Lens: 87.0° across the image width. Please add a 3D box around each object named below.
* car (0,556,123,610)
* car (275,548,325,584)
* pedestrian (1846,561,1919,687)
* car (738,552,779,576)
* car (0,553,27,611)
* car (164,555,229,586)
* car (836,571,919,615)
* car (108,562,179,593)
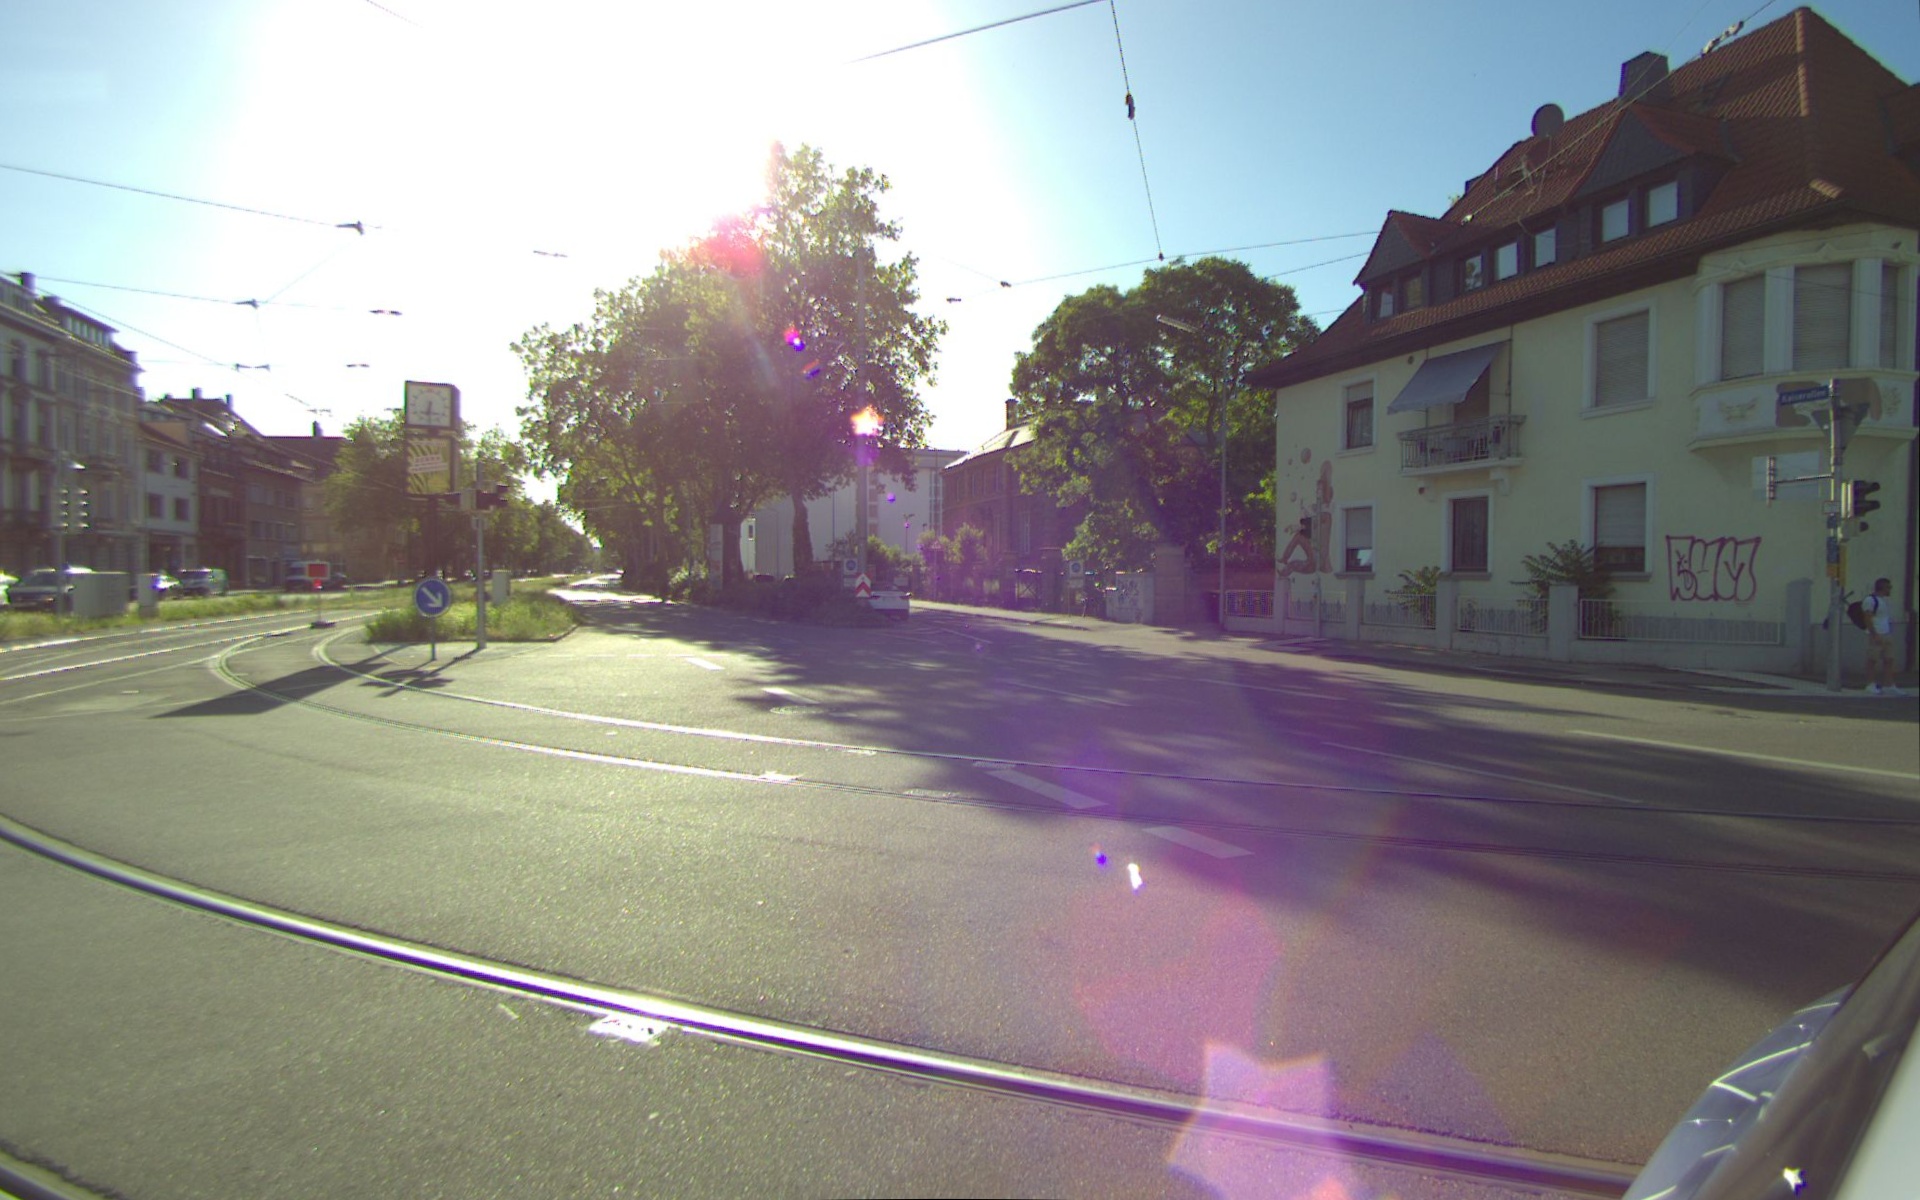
[{"bbox_3d":[-30.513,-0.638,34.204,1.914,1.688,4.498,-1,3,-19],"label":"car"},{"bbox_3d":[-56.741,-2.949,87.150,2.156,2.944,5.974,-1,3,-19],"label":"car"},{"bbox_3d":[13.701,0.332,14.923,0.667,1.760,0.685,2,6,23],"label":"pedestrian"},{"bbox_3d":[-13.326,-2.413,66.782,1.879,1.471,4.513,-1,3,-21],"label":"car"},{"bbox_3d":[-28.676,-0.476,28.579,1.914,1.688,4.010,-1,3,-19],"label":"car"},{"bbox_3d":[-49.301,-1.946,65.452,1.914,1.884,4.815,-1,3,-19],"label":"car"},{"bbox_3d":[-3.198,-0.323,38.295,1.879,1.471,4.513,-1,3,-21],"label":"car"},{"bbox_3d":[-47.094,-1.330,58.466,1.914,1.688,4.010,-1,3,-19],"label":"car"}]
